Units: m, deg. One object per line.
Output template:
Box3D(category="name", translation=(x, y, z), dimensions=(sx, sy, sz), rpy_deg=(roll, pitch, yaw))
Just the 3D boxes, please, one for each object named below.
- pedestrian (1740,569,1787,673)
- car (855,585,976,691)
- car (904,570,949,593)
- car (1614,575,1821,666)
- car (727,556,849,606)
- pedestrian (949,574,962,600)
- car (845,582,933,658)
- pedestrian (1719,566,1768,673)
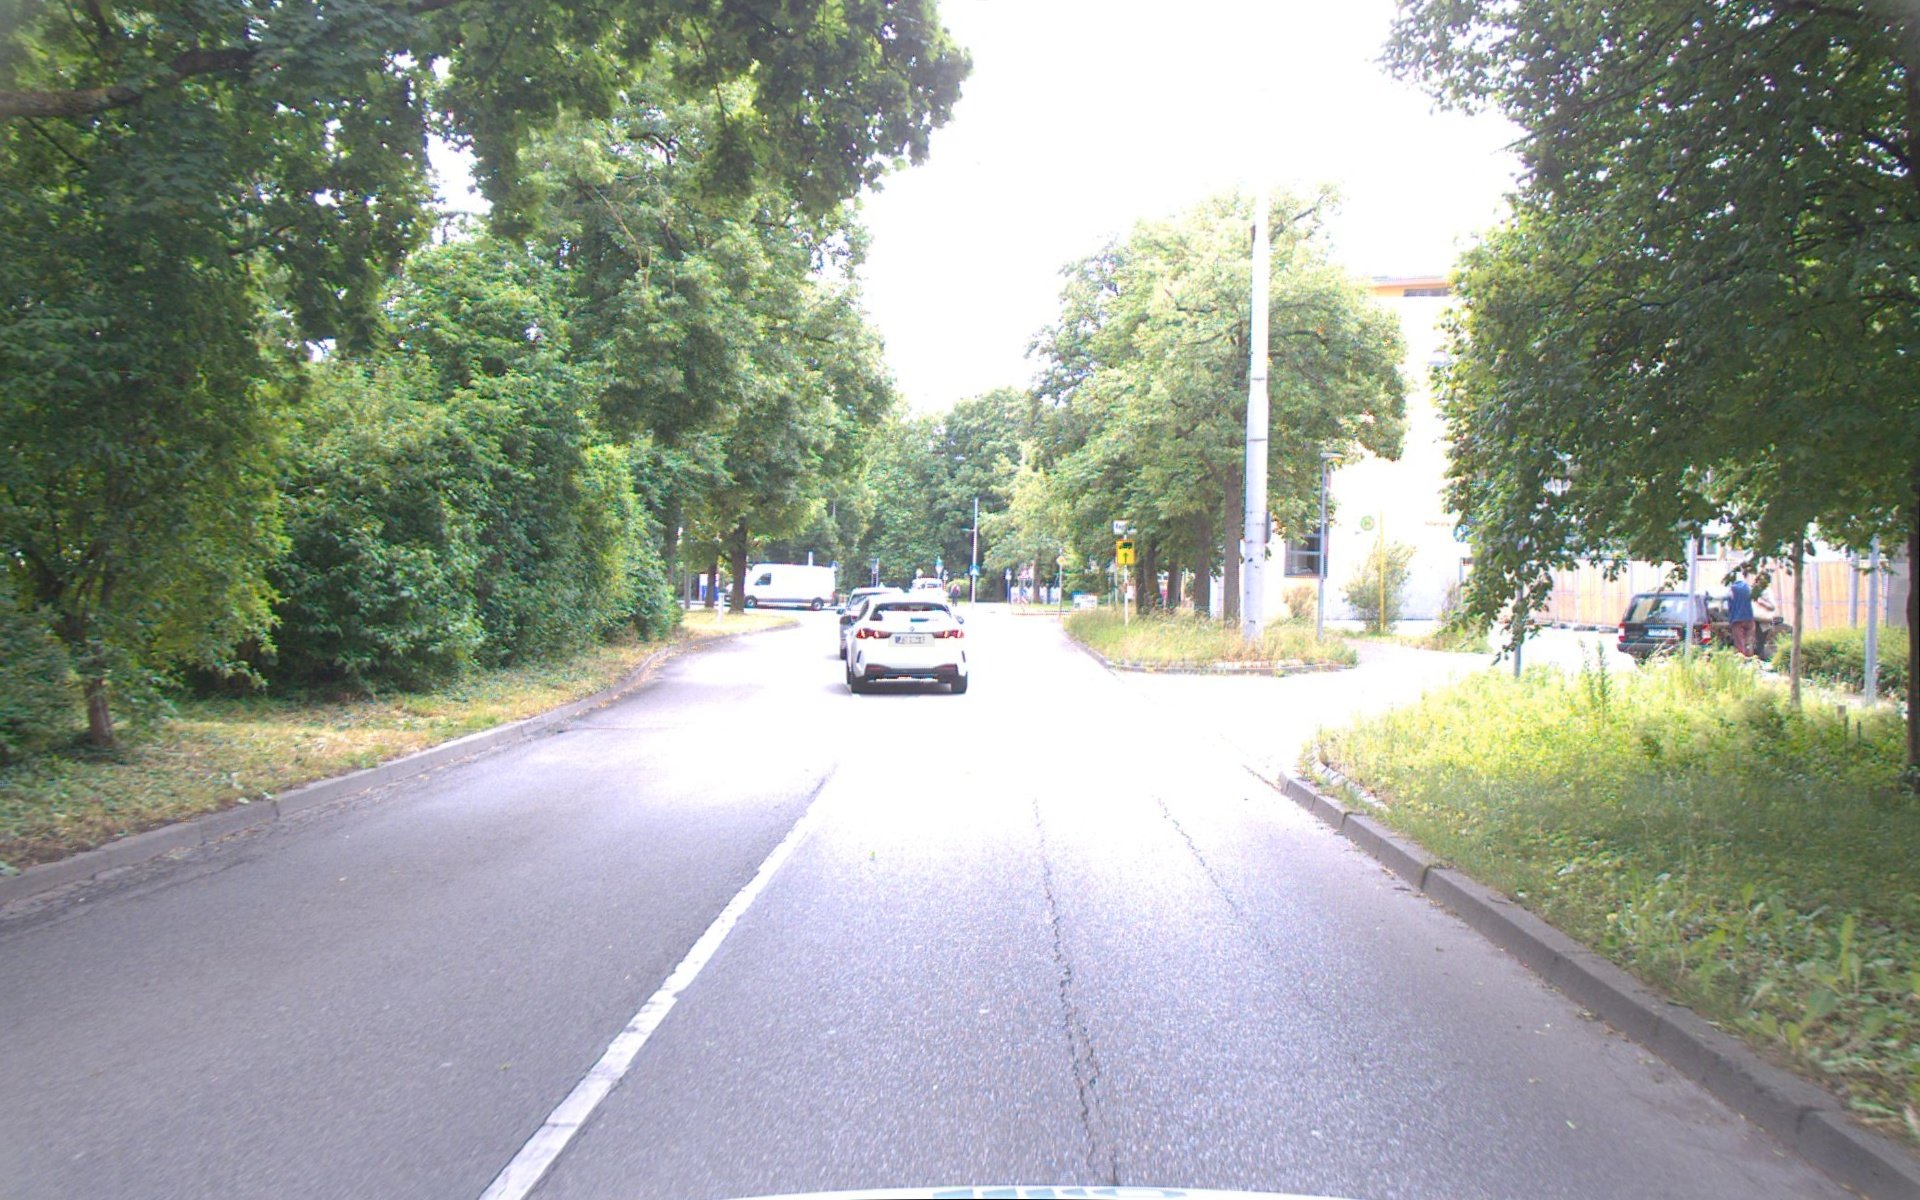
Box3D(category="pedestrian", translation=(14.031, 0.361, 28.892), dimensions=(0.491, 1.755, 0.532), rpy_deg=(-3, 4, -28))
Box3D(category="car", translation=(-0.678, 0.539, 26.212), dimensions=(1.759, 1.544, 4.206), rpy_deg=(0, 0, -1))
Box3D(category="car", translation=(-3.787, -2.100, 188.100), dimensions=(2.099, 2.336, 5.356), rpy_deg=(5, 2, 40))
Box3D(category="car", translation=(14.001, 0.324, 30.438), dimensions=(4.704, 1.543, 1.842), rpy_deg=(-1, 1, -43))
Box3D(category="car", translation=(-9.990, -1.105, 96.624), dimensions=(6.902, 2.565, 2.059), rpy_deg=(2, 2, -36))
Box3D(category="pedestrian", translation=(-0.321, -0.994, 126.179), dimensions=(0.905, 1.903, 1.019), rpy_deg=(-2, 3, -2))
Box3D(category="car", translation=(-1.593, 0.410, 38.385), dimensions=(1.884, 1.601, 4.000), rpy_deg=(1, 1, -1))
Box3D(category="pedestrian", translation=(13.477, 0.330, 28.467), dimensions=(0.468, 1.784, 0.579), rpy_deg=(-3, 4, -28))
